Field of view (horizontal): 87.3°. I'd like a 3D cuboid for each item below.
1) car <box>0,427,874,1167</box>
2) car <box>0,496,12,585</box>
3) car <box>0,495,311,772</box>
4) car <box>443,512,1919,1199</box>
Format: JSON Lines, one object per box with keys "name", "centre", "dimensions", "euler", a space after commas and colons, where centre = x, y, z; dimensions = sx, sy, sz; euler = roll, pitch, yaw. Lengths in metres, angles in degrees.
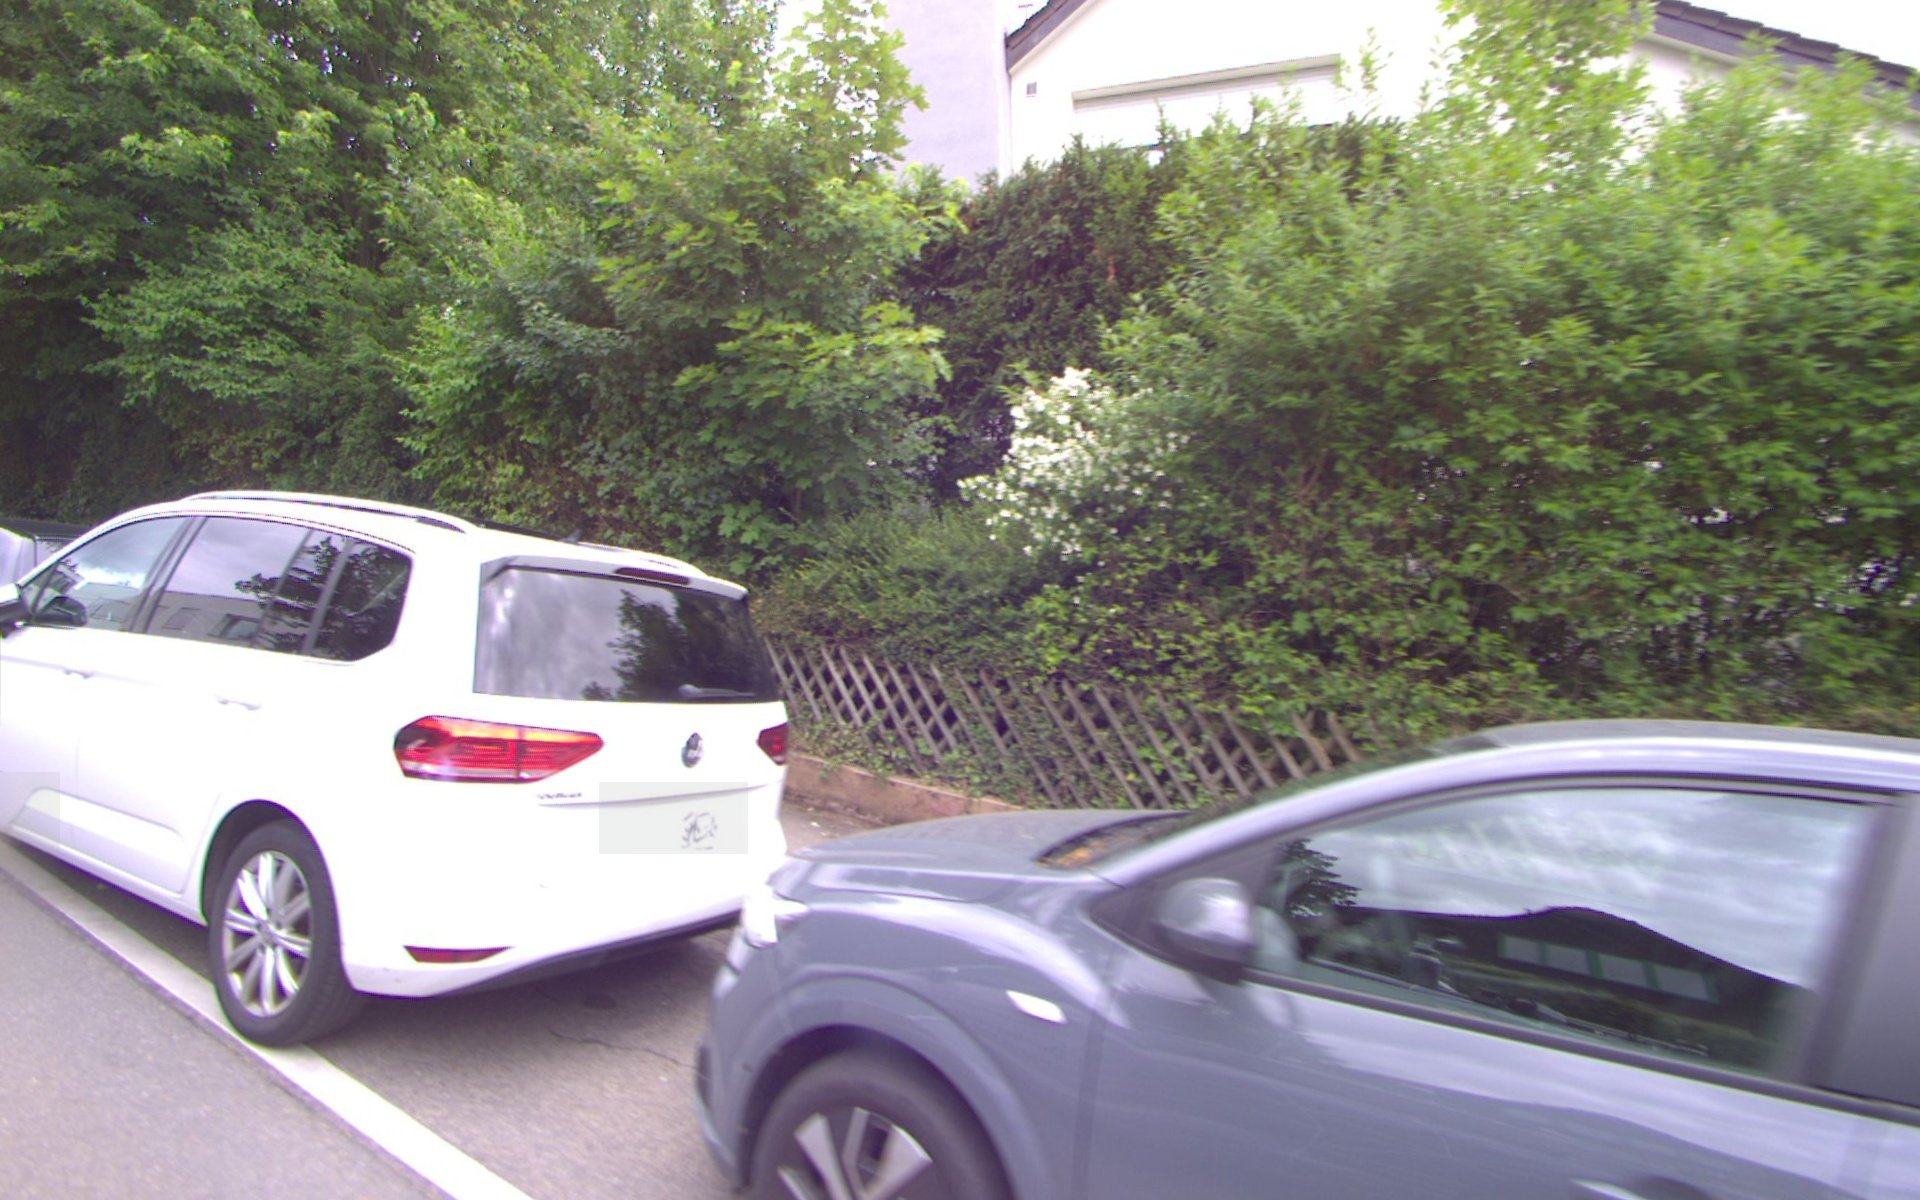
{"name": "car", "centre": [-2.932, 0.283, 4.229], "dimensions": [4.676, 1.629, 2.004], "euler": [6, 1, 28]}
{"name": "car", "centre": [-10.812, -0.438, 9.474], "dimensions": [4.092, 1.525, 1.700], "euler": [6, -2, 33]}
{"name": "car", "centre": [-6.674, 0.024, 6.903], "dimensions": [4.303, 1.471, 1.813], "euler": [6, 0, 28]}
{"name": "car", "centre": [1.293, 0.821, 1.866], "dimensions": [4.382, 1.510, 1.939], "euler": [6, 1, 32]}
